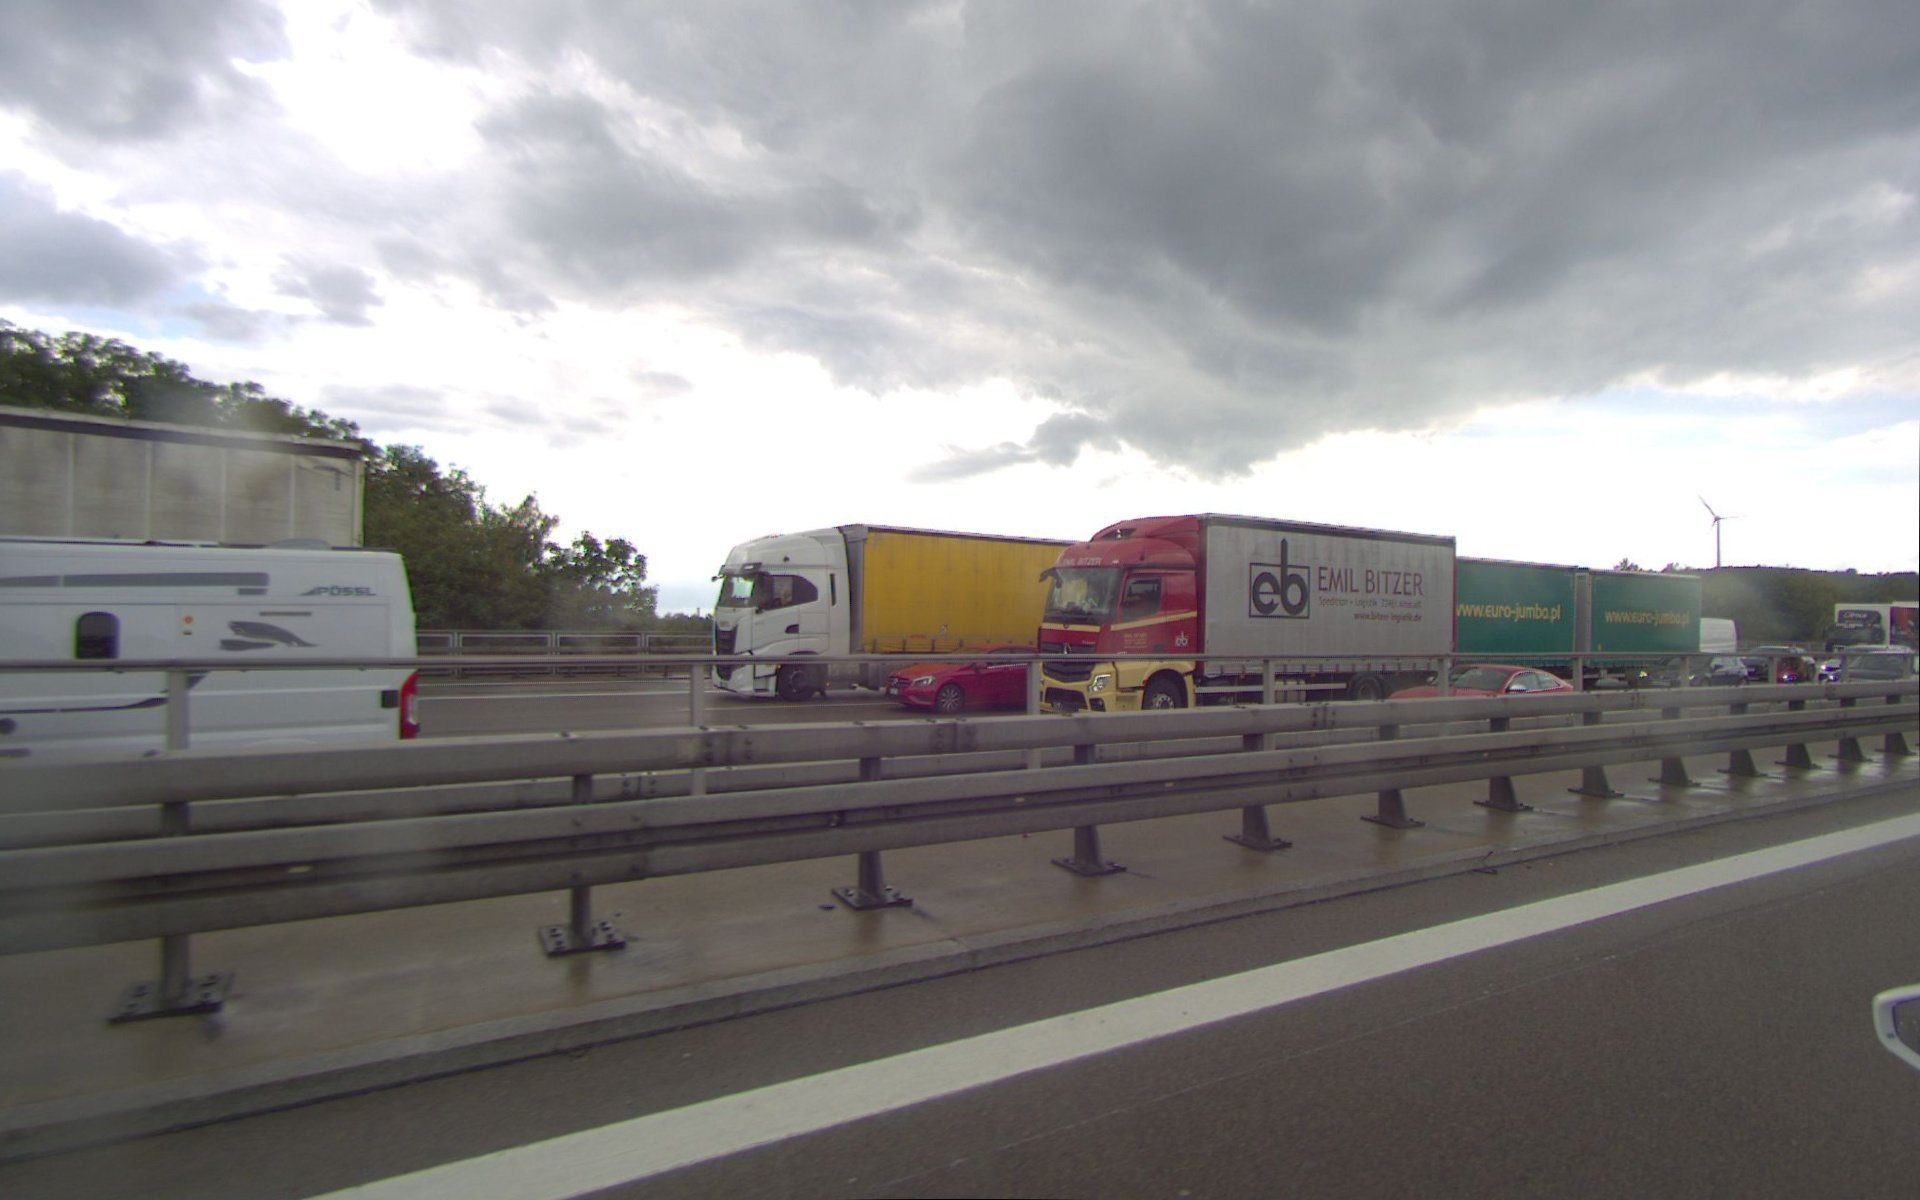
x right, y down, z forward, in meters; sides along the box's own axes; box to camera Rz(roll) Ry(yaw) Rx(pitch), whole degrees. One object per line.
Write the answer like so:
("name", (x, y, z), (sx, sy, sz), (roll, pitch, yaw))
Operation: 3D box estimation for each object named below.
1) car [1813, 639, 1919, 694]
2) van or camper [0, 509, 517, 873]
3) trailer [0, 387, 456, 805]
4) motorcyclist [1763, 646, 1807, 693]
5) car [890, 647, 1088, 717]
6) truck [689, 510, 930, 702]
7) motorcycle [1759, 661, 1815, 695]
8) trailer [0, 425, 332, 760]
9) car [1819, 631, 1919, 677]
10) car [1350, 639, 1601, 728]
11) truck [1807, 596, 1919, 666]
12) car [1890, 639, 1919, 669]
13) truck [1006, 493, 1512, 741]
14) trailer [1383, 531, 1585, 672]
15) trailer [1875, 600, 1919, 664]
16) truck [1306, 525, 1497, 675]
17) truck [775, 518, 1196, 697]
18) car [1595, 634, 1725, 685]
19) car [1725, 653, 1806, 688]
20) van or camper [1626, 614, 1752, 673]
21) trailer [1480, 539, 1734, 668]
("car", (26.853, 1.896, 29.311), (3.953, 1.471, 1.823), (2, -1, -30))
("van or camper", (-7.518, 0.645, 7.801), (7.220, 2.529, 2.266), (1, -2, -32))
("trailer", (-12.378, -0.069, 10.081), (12.881, 4.200, 2.866), (1, -2, -32))
("motorcyclist", (24.861, 2.075, 30.263), (1.018, 1.359, 0.725), (1, -2, -30))
("car", (0.677, 1.726, 21.923), (4.148, 1.361, 1.590), (1, -2, -32))
("truck", (-3.569, 0.206, 23.991), (5.048, 4.123, 2.690), (1, -1, -30))
("motorcycle", (24.964, 2.339, 30.314), (1.768, 0.979, 0.730), (1, -2, -30))
("trailer", (-15.428, -0.136, 12.316), (12.873, 4.200, 2.867), (1, -2, -30))
("car", (34.593, 2.016, 38.137), (4.729, 1.646, 1.753), (2, -1, -33))
("car", (9.721, 1.475, 18.832), (4.955, 1.437, 1.913), (1, -2, -32))
("truck", (55.773, 1.870, 61.146), (10.160, 3.962, 3.210), (1, 0, -30))
("car", (51.263, 2.836, 53.274), (4.038, 1.555, 1.712), (1, -2, -30))
("truck", (6.926, 0.448, 21.575), (12.381, 4.203, 2.968), (1, -2, -32))
("trailer", (16.747, 0.113, 32.018), (6.241, 4.083, 2.821), (1, 0, -31))
("trailer", (63.906, 2.122, 65.929), (8.746, 4.012, 3.204), (1, 0, -30))
("truck", (13.109, 0.057, 29.834), (4.905, 4.083, 2.831), (1, 0, -31))
("truck", (1.056, 0.307, 26.737), (11.557, 4.034, 2.707), (1, -1, -31))
("car", (21.697, 1.812, 31.117), (3.953, 1.471, 1.823), (2, -1, -30))
("car", (33.920, 2.949, 42.272), (3.391, 1.351, 1.566), (1, -2, -30))
("van or camper", (34.586, 2.031, 47.581), (7.280, 2.612, 2.232), (1, -1, -31))
("trailer", (23.404, 0.231, 36.000), (11.468, 4.115, 2.804), (1, 0, -31))
